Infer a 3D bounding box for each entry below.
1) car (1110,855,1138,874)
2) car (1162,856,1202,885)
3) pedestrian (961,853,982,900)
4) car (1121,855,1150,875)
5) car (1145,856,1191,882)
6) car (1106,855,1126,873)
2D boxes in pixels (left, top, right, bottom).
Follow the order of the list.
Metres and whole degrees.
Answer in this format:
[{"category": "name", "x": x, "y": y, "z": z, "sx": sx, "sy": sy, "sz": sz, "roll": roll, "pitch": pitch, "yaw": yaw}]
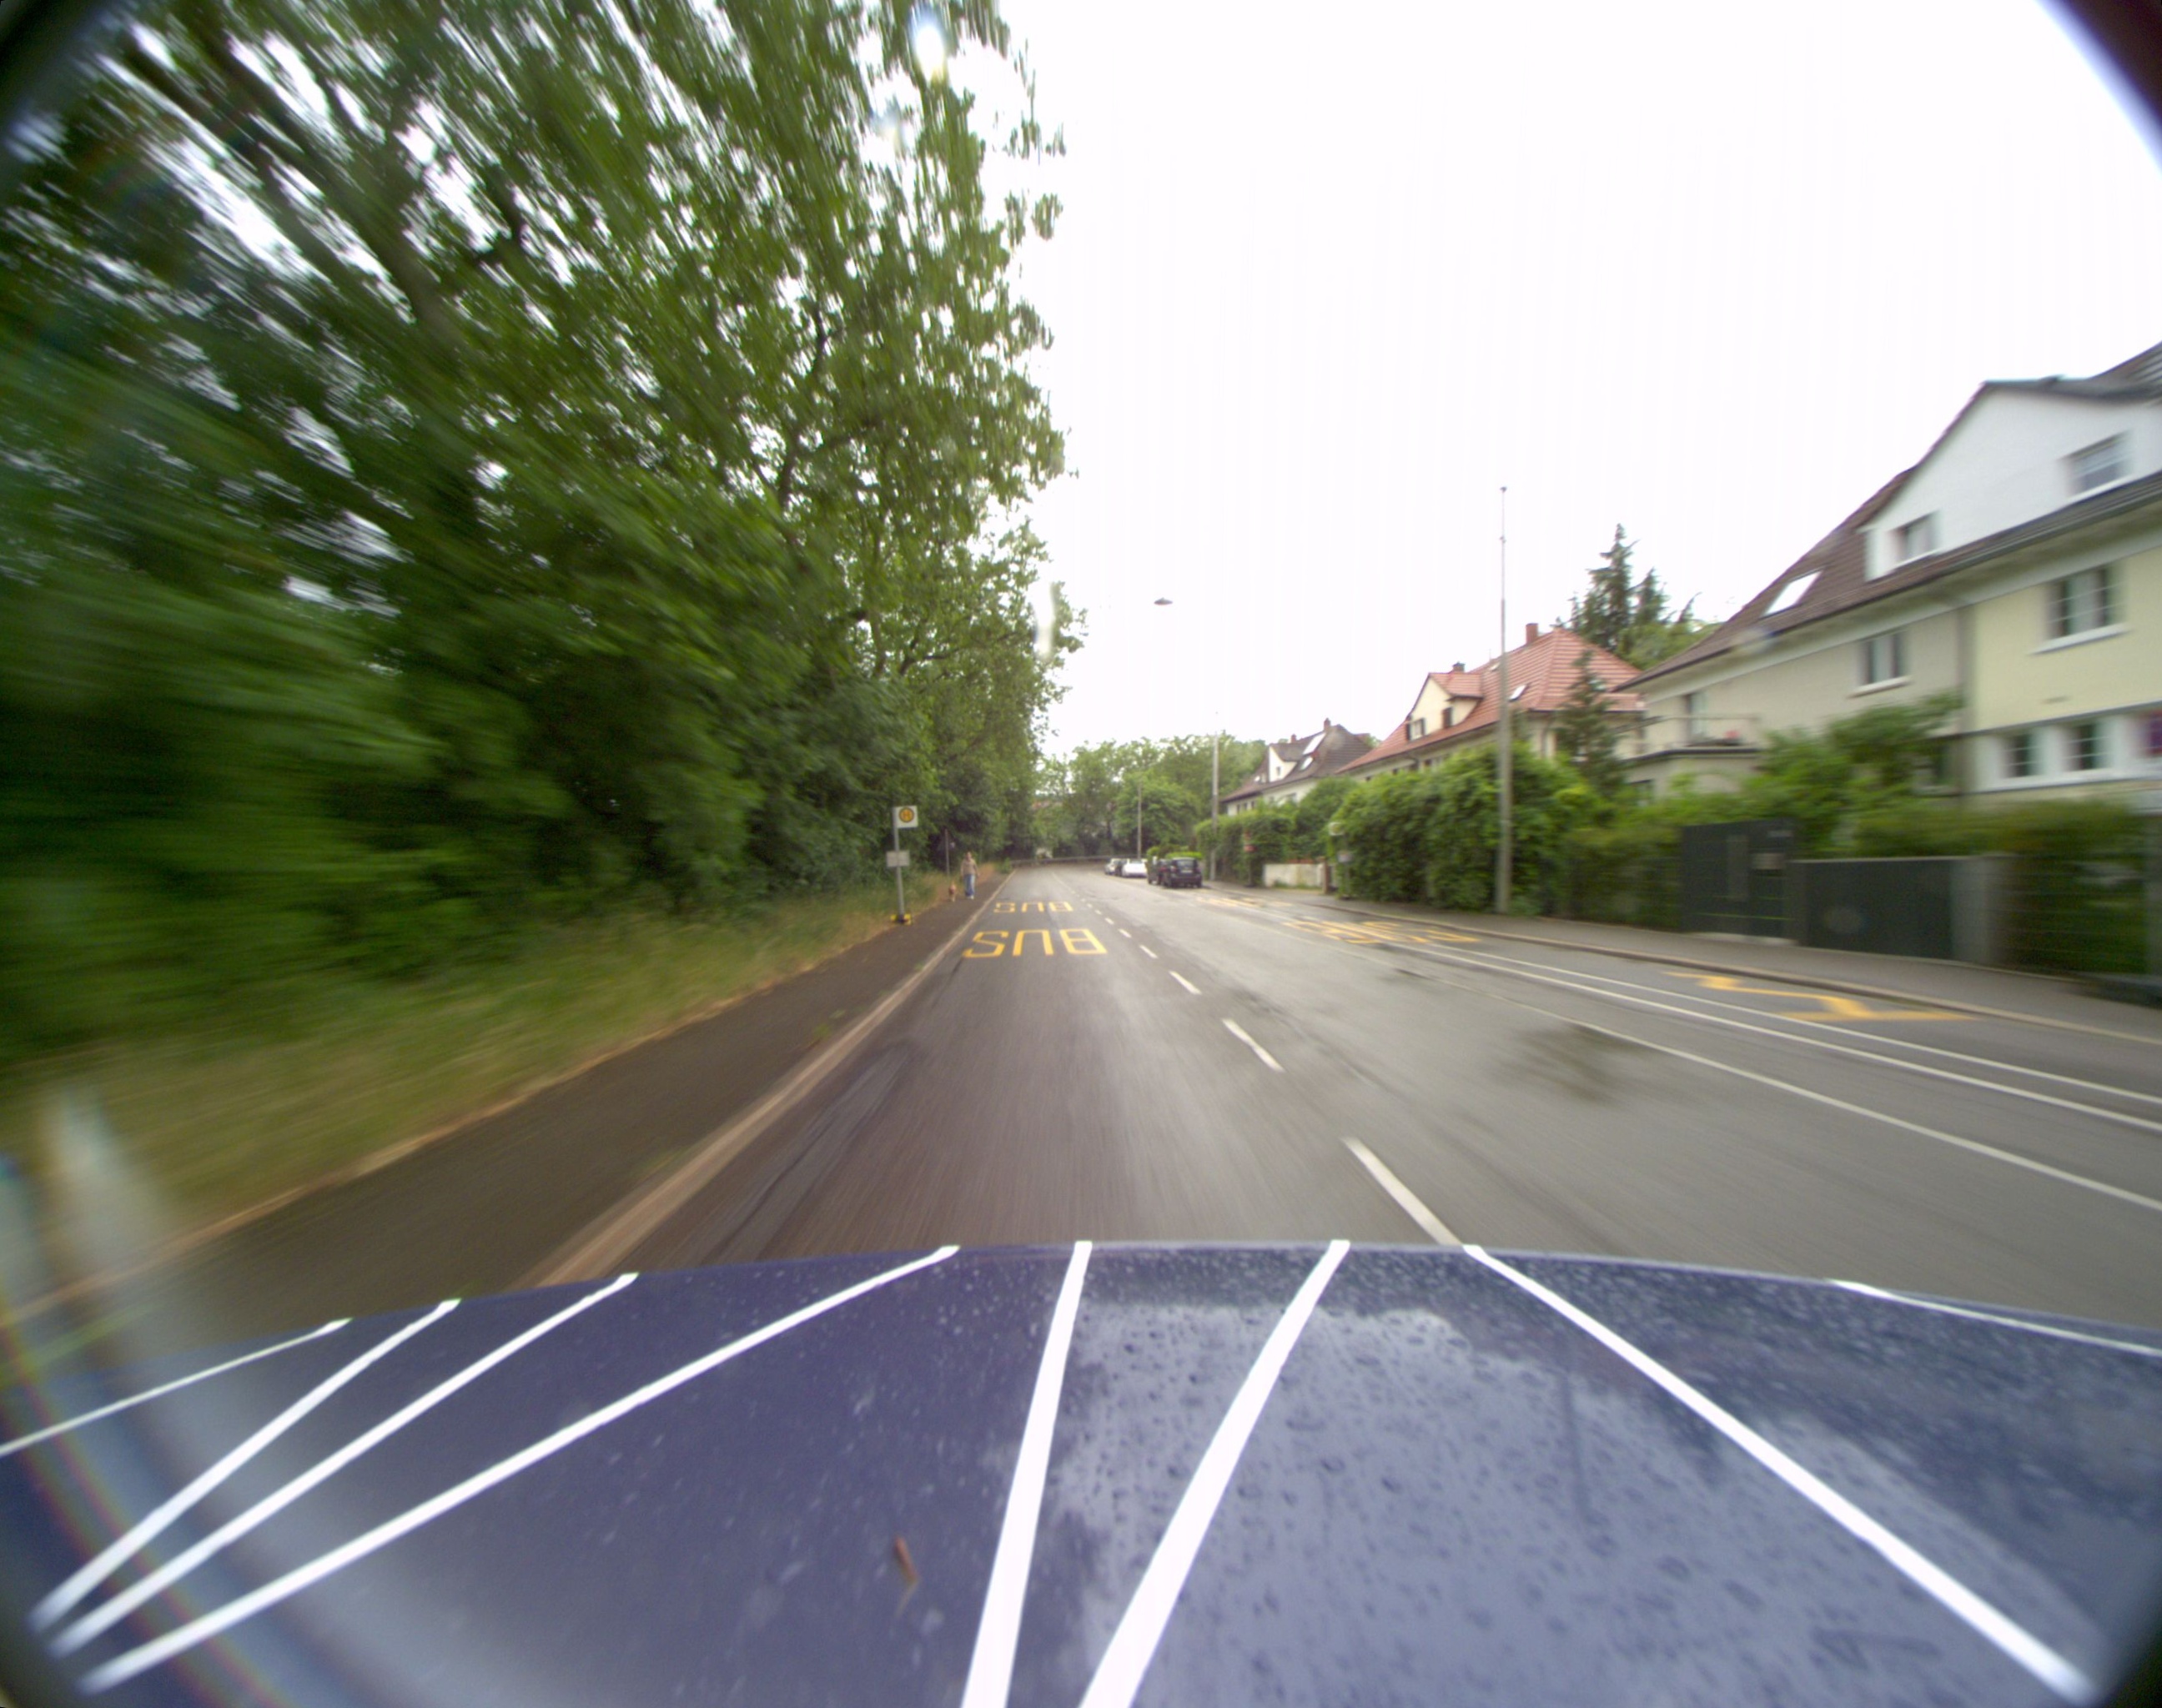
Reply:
[{"category": "car", "x": 3.546, "y": 0.849, "z": 63.367, "sx": 1.703, "sy": 1.516, "sz": 4.420, "roll": -1, "pitch": 0, "yaw": -5}, {"category": "car", "x": 5.186, "y": 0.840, "z": 39.419, "sx": 1.523, "sy": 1.445, "sz": 3.029, "roll": 1, "pitch": 0, "yaw": -3}, {"category": "pedestrian", "x": -3.731, "y": 0.758, "z": 25.991, "sx": 0.643, "sy": 1.602, "sz": 0.669, "roll": 0, "pitch": 2, "yaw": -4}, {"category": "car", "x": 4.163, "y": 0.822, "z": 58.649, "sx": 1.703, "sy": 1.459, "sz": 3.709, "roll": -1, "pitch": 0, "yaw": -5}, {"category": "car", "x": 4.932, "y": 0.830, "z": 43.593, "sx": 1.693, "sy": 1.410, "sz": 4.213, "roll": 1, "pitch": 0, "yaw": -6}, {"category": "car", "x": 3.218, "y": 0.903, "z": 68.864, "sx": 1.737, "sy": 1.413, "sz": 4.287, "roll": -2, "pitch": -3, "yaw": 3}]
